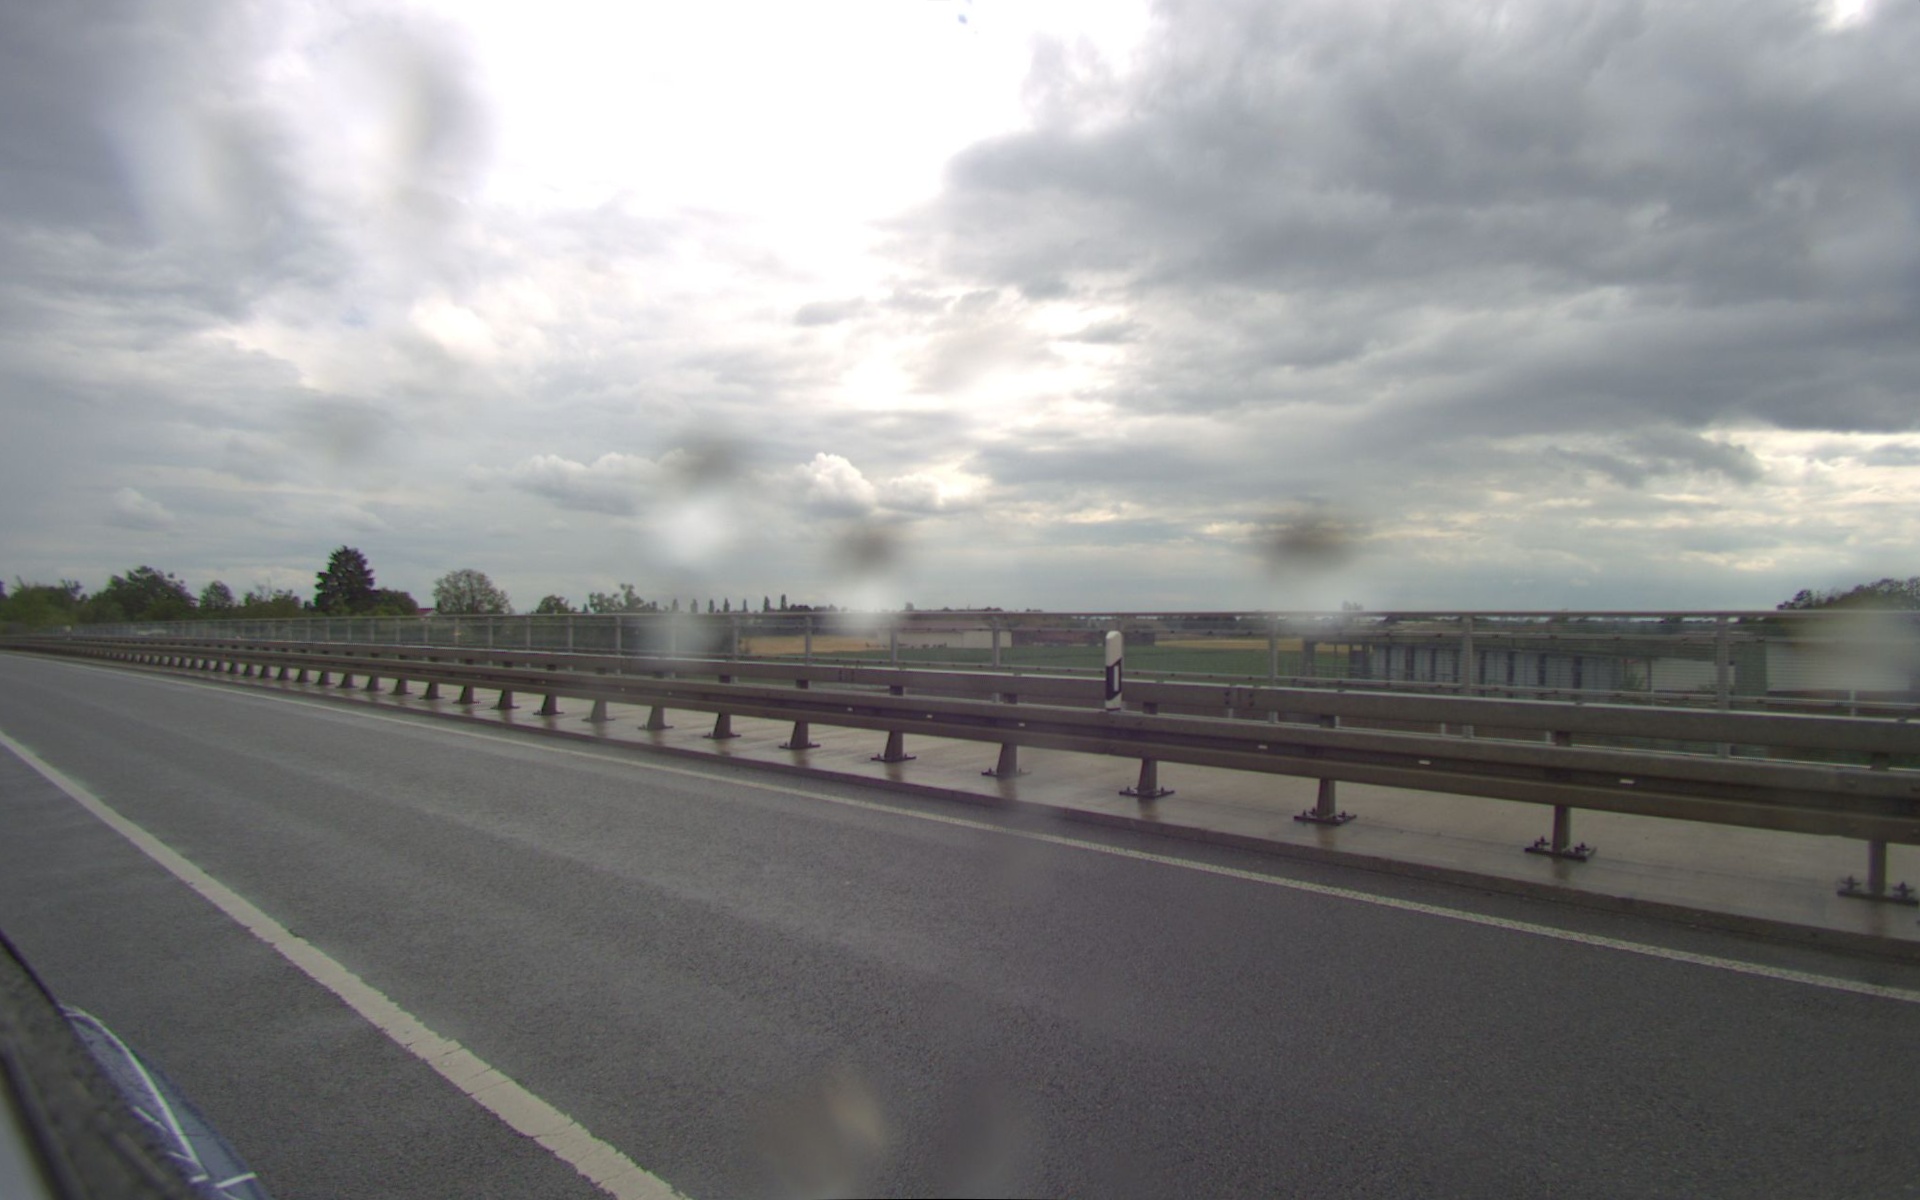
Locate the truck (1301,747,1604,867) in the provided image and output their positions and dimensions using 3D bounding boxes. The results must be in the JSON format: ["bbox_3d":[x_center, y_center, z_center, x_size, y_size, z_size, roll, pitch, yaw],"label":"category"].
[{"bbox_3d":[19.705,8.249,40.801,11.006,4.031,2.438,-1,0,-2],"label":"truck"}]
